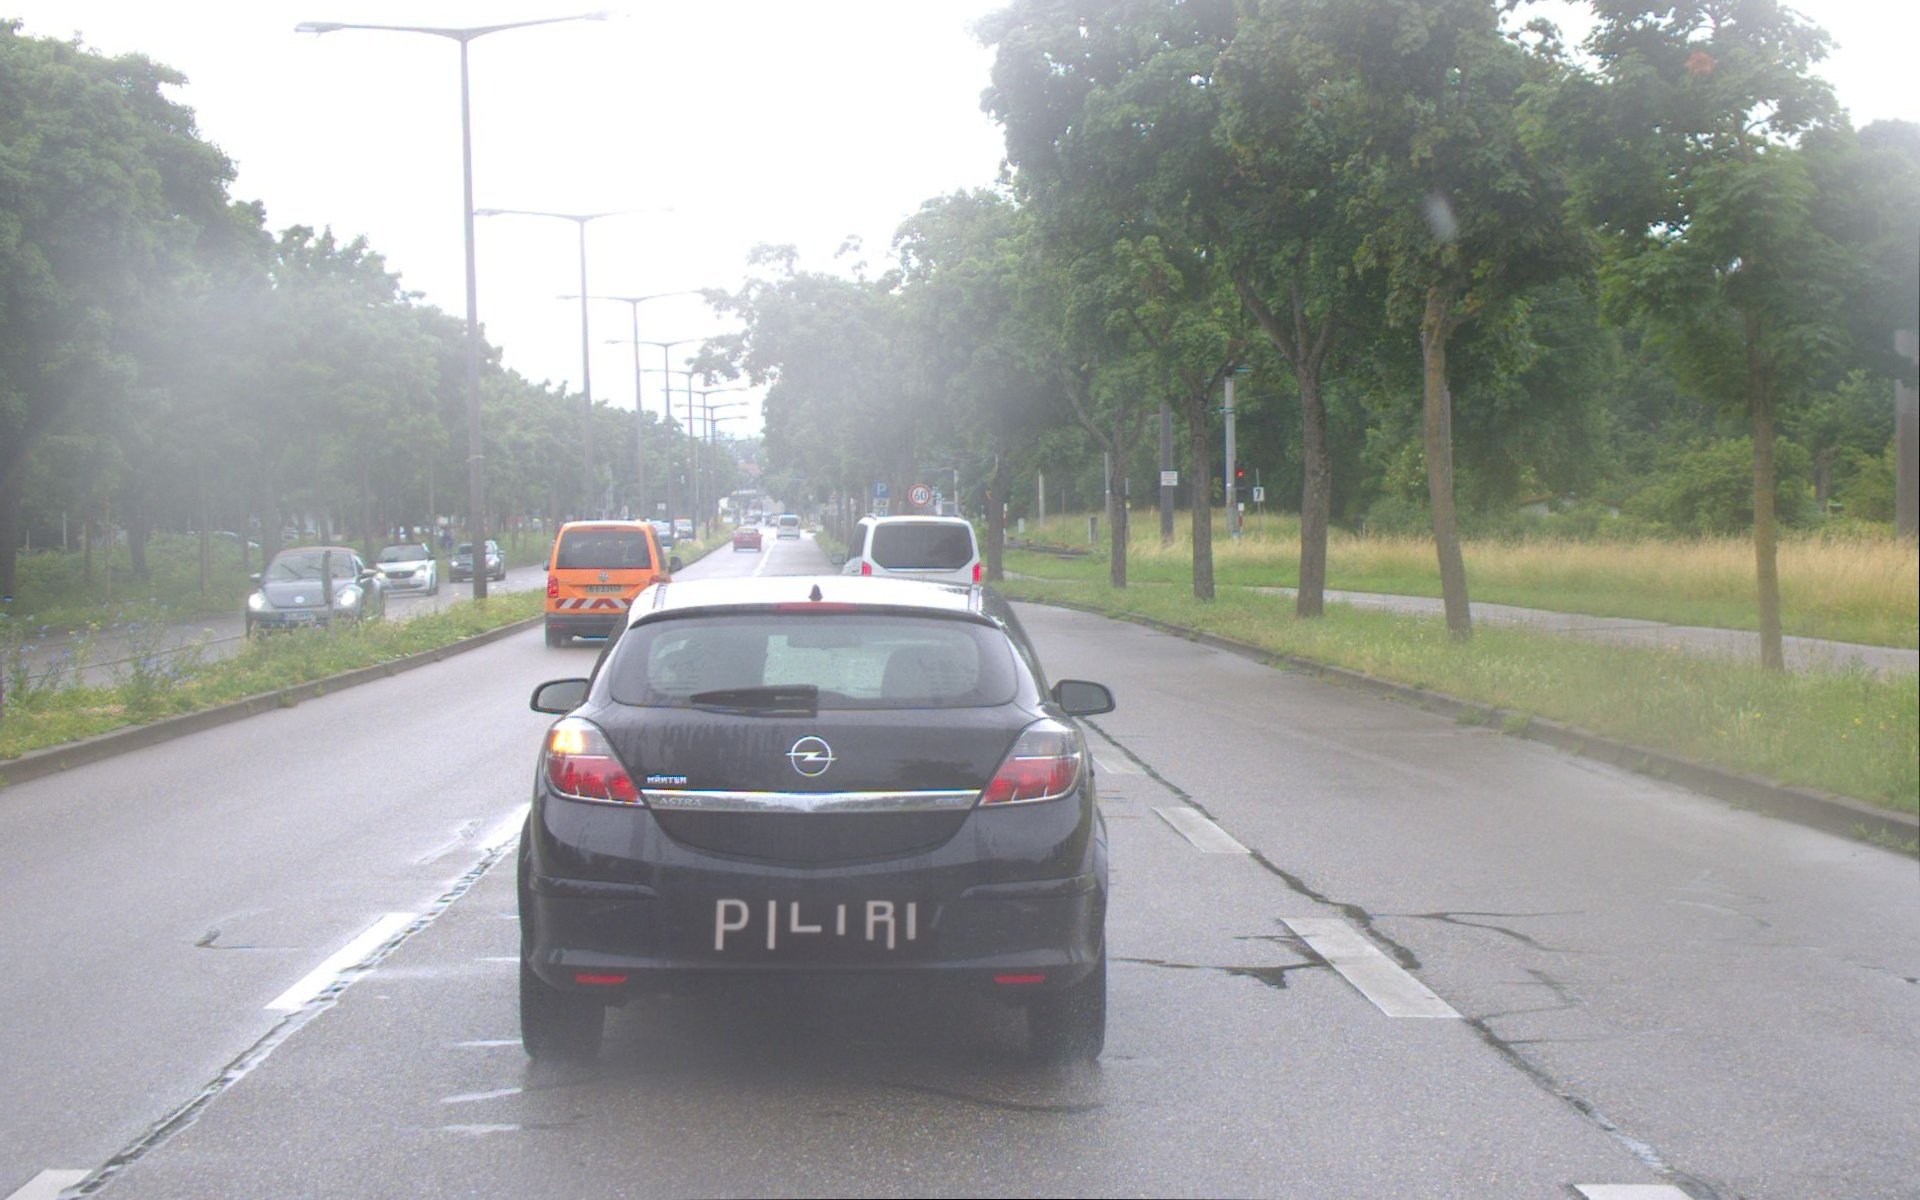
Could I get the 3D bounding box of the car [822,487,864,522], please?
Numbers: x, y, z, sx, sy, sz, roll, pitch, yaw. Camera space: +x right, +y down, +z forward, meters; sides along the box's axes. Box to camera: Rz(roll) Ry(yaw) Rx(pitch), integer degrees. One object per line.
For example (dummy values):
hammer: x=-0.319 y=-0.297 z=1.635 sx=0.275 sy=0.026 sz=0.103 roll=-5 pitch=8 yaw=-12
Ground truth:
car: x=-7.258 y=-5.894 z=213.267 sx=2.516 sy=2.045 sz=5.294 roll=2 pitch=1 yaw=-2

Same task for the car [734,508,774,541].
car: x=-12.085 y=-4.436 z=202.084 sx=1.993 sy=1.873 sz=4.000 roll=0 pitch=0 yaw=1

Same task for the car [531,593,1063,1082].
car: x=-0.410 y=0.648 z=11.320 sx=1.463 sy=1.324 sz=3.758 roll=0 pitch=0 yaw=1

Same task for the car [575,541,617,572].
car: x=-17.968 y=-2.159 z=169.923 sx=1.720 sy=1.524 sz=3.809 roll=-1 pitch=1 yaw=-1

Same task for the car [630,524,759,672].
car: x=-3.932 y=-0.041 z=50.593 sx=1.734 sy=2.012 sz=4.850 roll=2 pitch=0 yaw=-5

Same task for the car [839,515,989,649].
car: x=-0.763 y=-0.270 z=52.980 sx=2.059 sy=1.968 sz=4.609 roll=0 pitch=0 yaw=-4

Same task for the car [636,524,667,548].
car: x=-19.671 y=-4.071 z=219.214 sx=1.720 sy=1.524 sz=3.809 roll=-1 pitch=1 yaw=-1

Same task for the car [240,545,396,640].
car: x=-10.179 y=-0.146 z=54.737 sx=1.827 sy=1.445 sz=3.809 roll=-1 pitch=1 yaw=-1

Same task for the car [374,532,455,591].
car: x=-15.433 y=-1.108 z=97.415 sx=1.720 sy=1.524 sz=3.809 roll=-1 pitch=2 yaw=-1

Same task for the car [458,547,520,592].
car: x=-16.655 y=-1.098 z=121.736 sx=1.720 sy=1.524 sz=3.809 roll=-1 pitch=1 yaw=-1
